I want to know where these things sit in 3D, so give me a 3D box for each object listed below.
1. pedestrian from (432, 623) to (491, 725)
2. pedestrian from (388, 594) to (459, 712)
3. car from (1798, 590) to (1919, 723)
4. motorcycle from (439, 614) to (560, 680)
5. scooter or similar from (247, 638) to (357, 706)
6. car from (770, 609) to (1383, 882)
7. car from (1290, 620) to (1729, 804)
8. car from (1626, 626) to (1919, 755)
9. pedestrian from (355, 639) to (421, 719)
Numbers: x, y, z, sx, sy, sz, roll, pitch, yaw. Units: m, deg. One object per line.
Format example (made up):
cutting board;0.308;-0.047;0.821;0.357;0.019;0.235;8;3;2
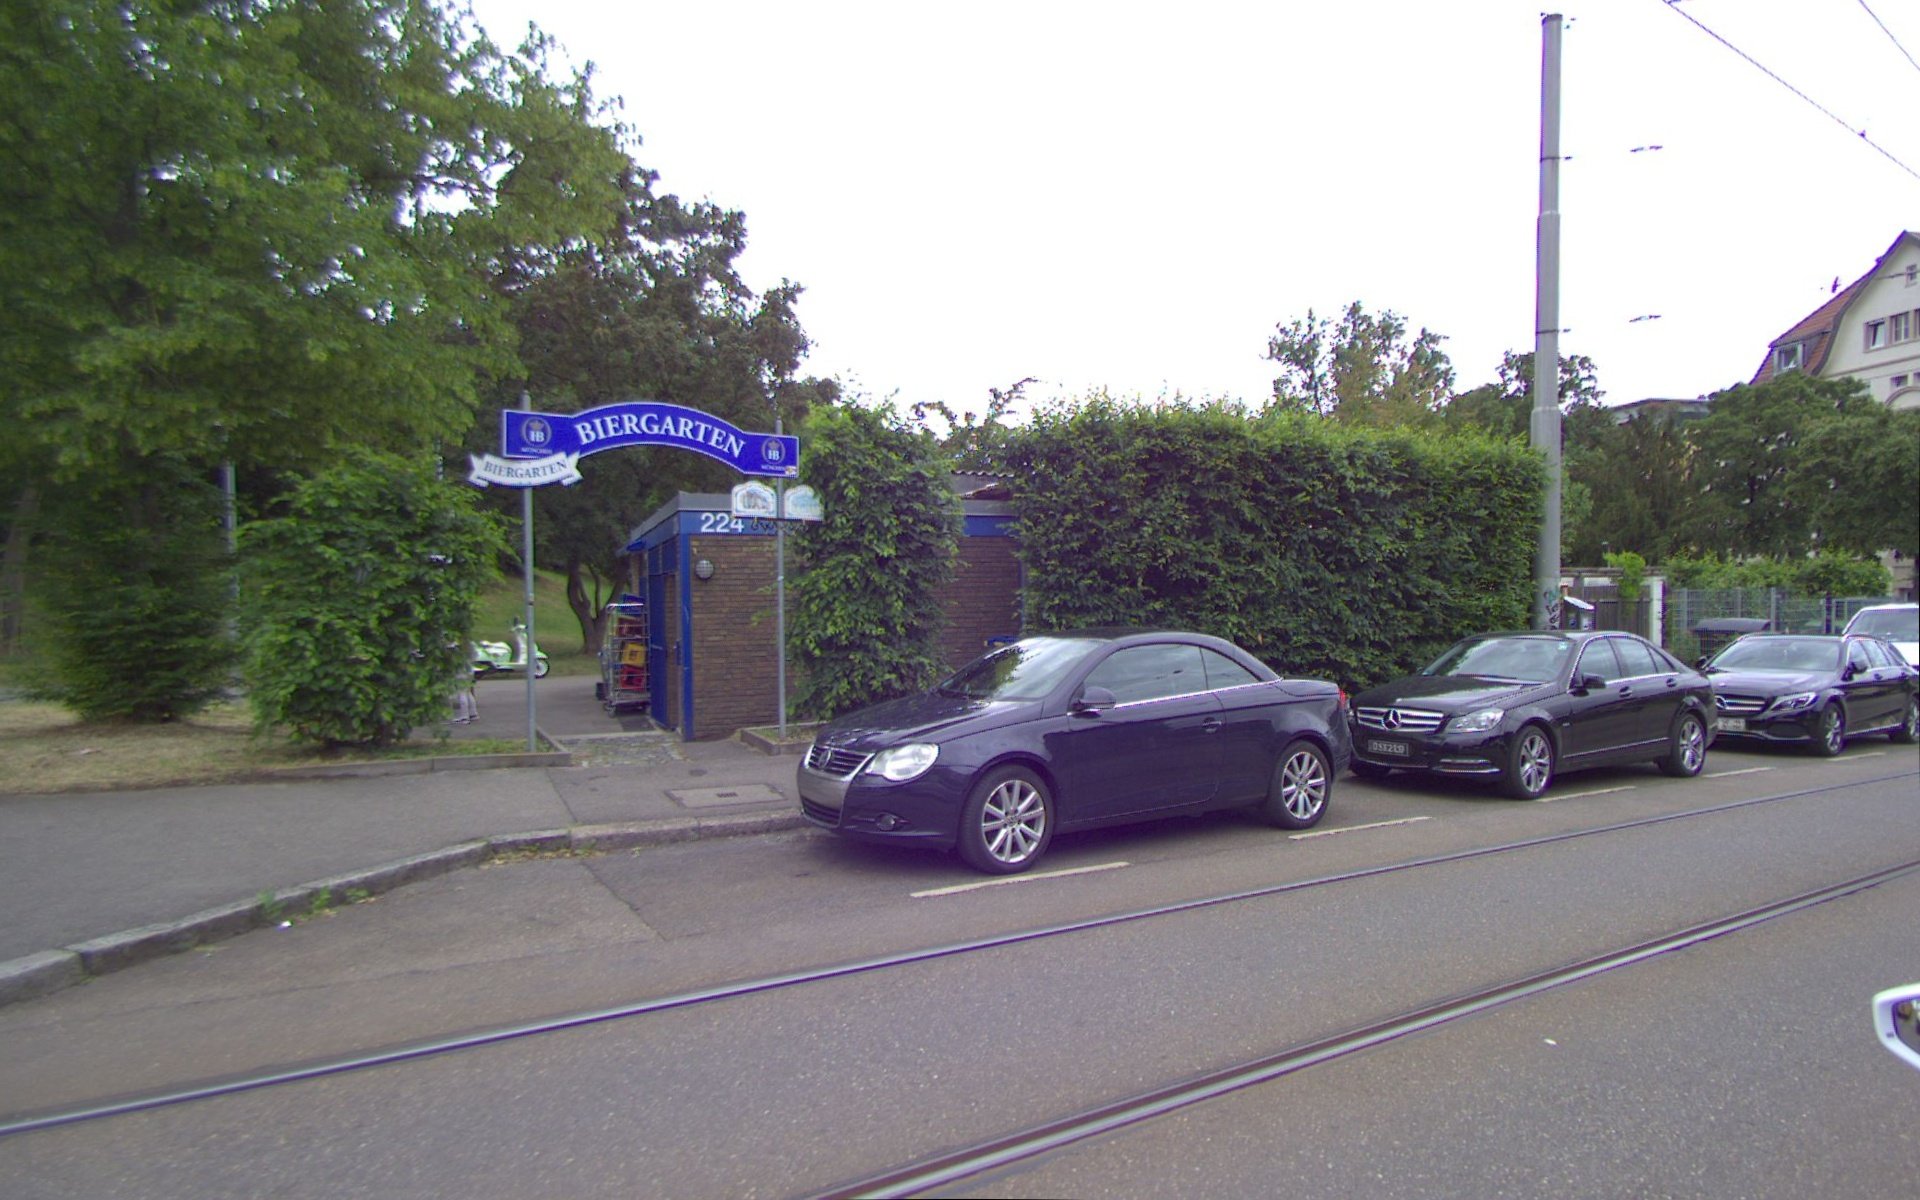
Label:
pedestrian;-6.869;1.003;13.855;0.509;1.360;0.483;2;0;14
pedestrian;-7.942;0.772;14.880;0.652;1.686;0.622;2;0;14
car;15.764;0.905;16.281;4.682;1.938;1.958;2;-1;-32
motorcycle;-9.781;0.981;21.386;2.244;1.322;0.616;1;0;-40
scooter or similar;-10.430;1.133;15.965;1.404;1.032;0.488;2;0;-30
car;0.932;0.843;7.151;4.115;1.423;1.780;2;-1;-32
car;5.452;0.967;9.812;4.390;1.405;1.830;2;-1;-32
car;10.880;1.107;13.215;4.467;1.405;1.830;2;-1;-32
pedestrian;-8.130;1.109;14.289;0.652;1.078;0.483;2;0;14
